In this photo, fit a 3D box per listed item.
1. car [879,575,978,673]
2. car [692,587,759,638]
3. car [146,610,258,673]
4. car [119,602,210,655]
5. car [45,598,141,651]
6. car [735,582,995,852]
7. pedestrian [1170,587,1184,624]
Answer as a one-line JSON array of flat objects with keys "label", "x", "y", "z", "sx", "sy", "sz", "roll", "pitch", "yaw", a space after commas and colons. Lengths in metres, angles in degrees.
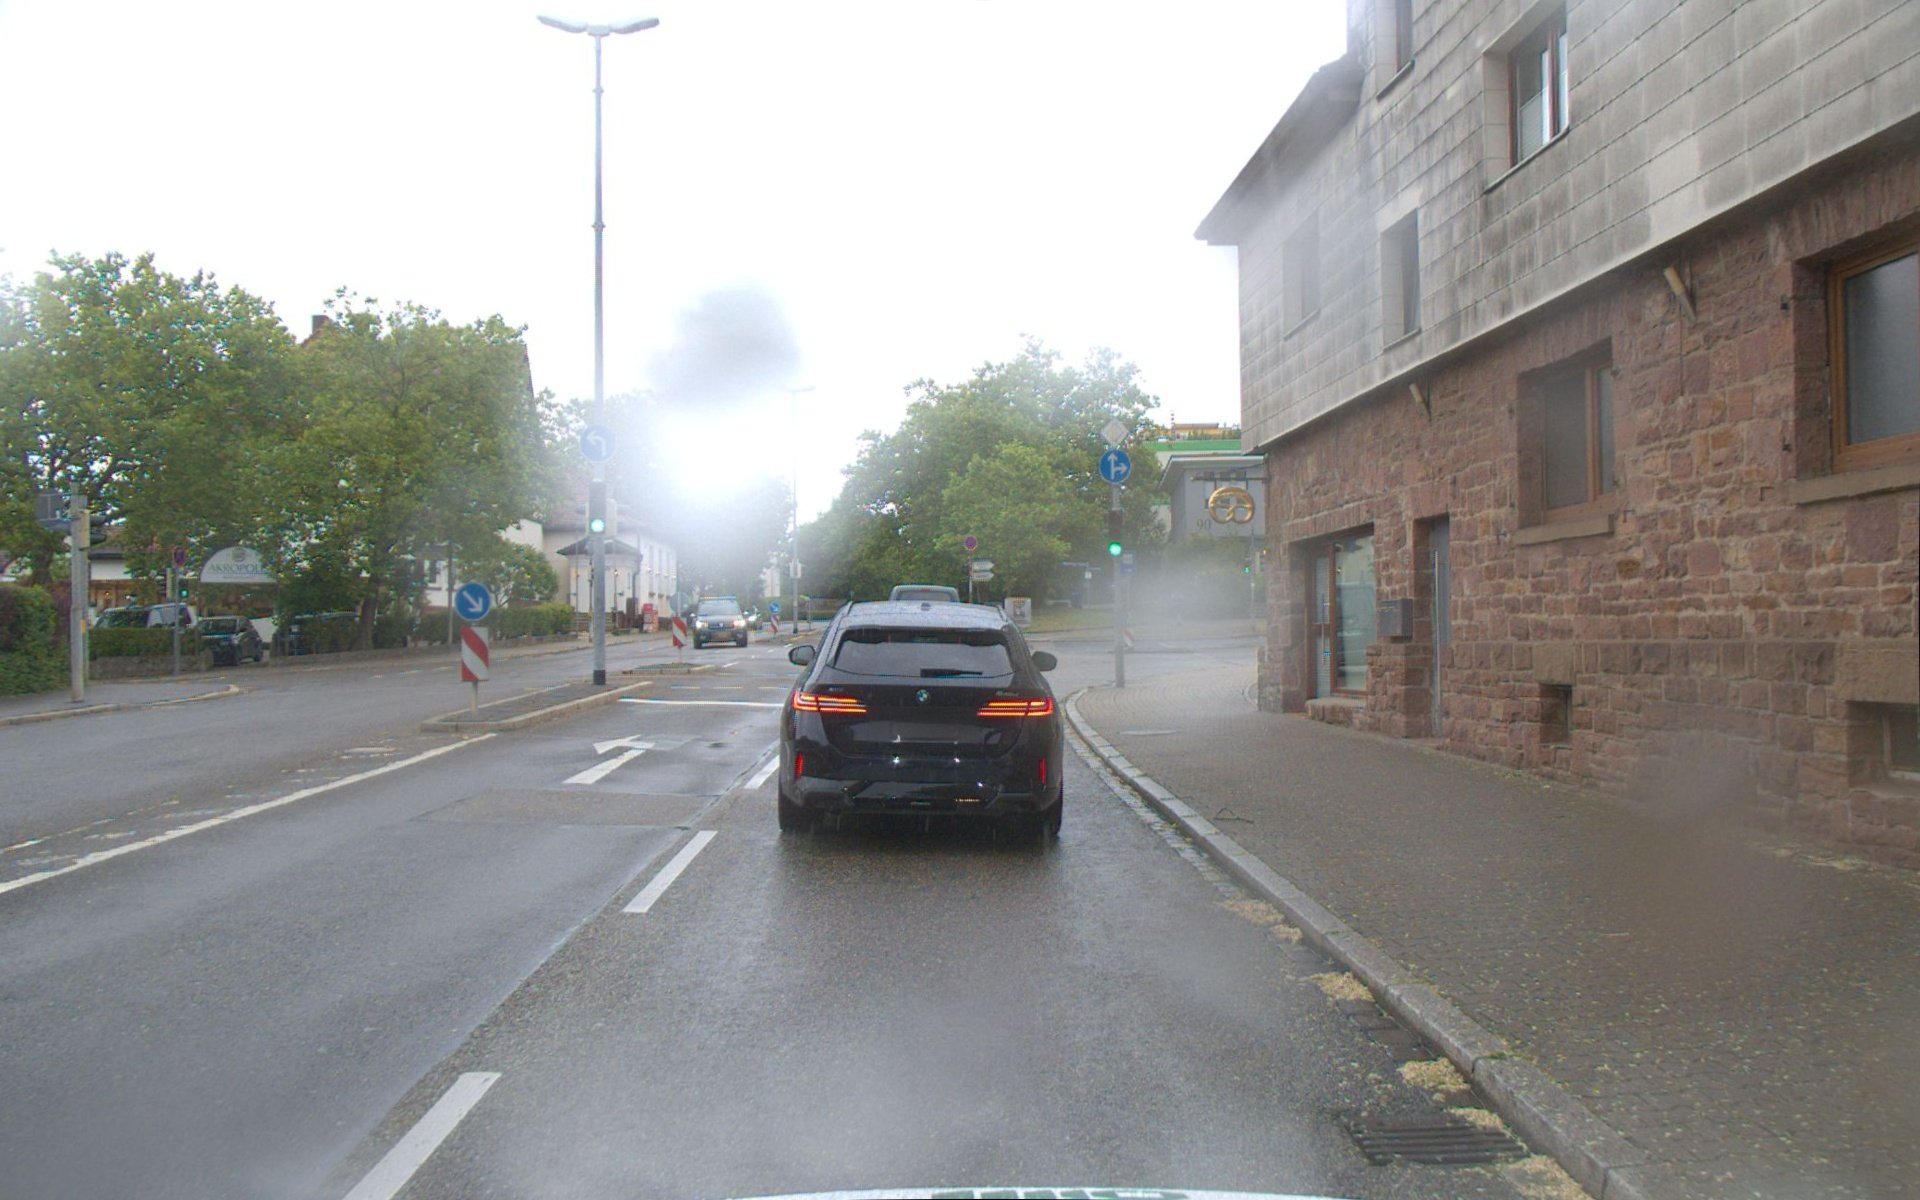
[{"label": "car", "x": -0.691, "y": 0.471, "z": 33.519, "sx": 1.777, "sy": 1.840, "sz": 3.753, "roll": 1, "pitch": -1, "yaw": -4}, {"label": "car", "x": -7.819, "y": 0.377, "z": 55.458, "sx": 1.861, "sy": 1.605, "sz": 4.499, "roll": -1, "pitch": 1, "yaw": -4}, {"label": "car", "x": -23.262, "y": 1.245, "z": 50.895, "sx": 1.772, "sy": 1.578, "sz": 3.999, "roll": 1, "pitch": 3, "yaw": -3}, {"label": "car", "x": -32.108, "y": 1.126, "z": 66.898, "sx": 1.955, "sy": 2.049, "sz": 3.996, "roll": 1, "pitch": -1, "yaw": -5}, {"label": "car", "x": -34.817, "y": 0.975, "z": 66.511, "sx": 1.955, "sy": 2.049, "sz": 3.996, "roll": 1, "pitch": -1, "yaw": -5}, {"label": "car", "x": -0.671, "y": 0.709, "z": 11.480, "sx": 1.494, "sy": 1.561, "sz": 3.529, "roll": 1, "pitch": -1, "yaw": -4}, {"label": "pedestrian", "x": 9.655, "y": 0.240, "z": 73.532, "sx": 0.588, "sy": 1.645, "sz": 0.526, "roll": 1, "pitch": -1, "yaw": 5}]
